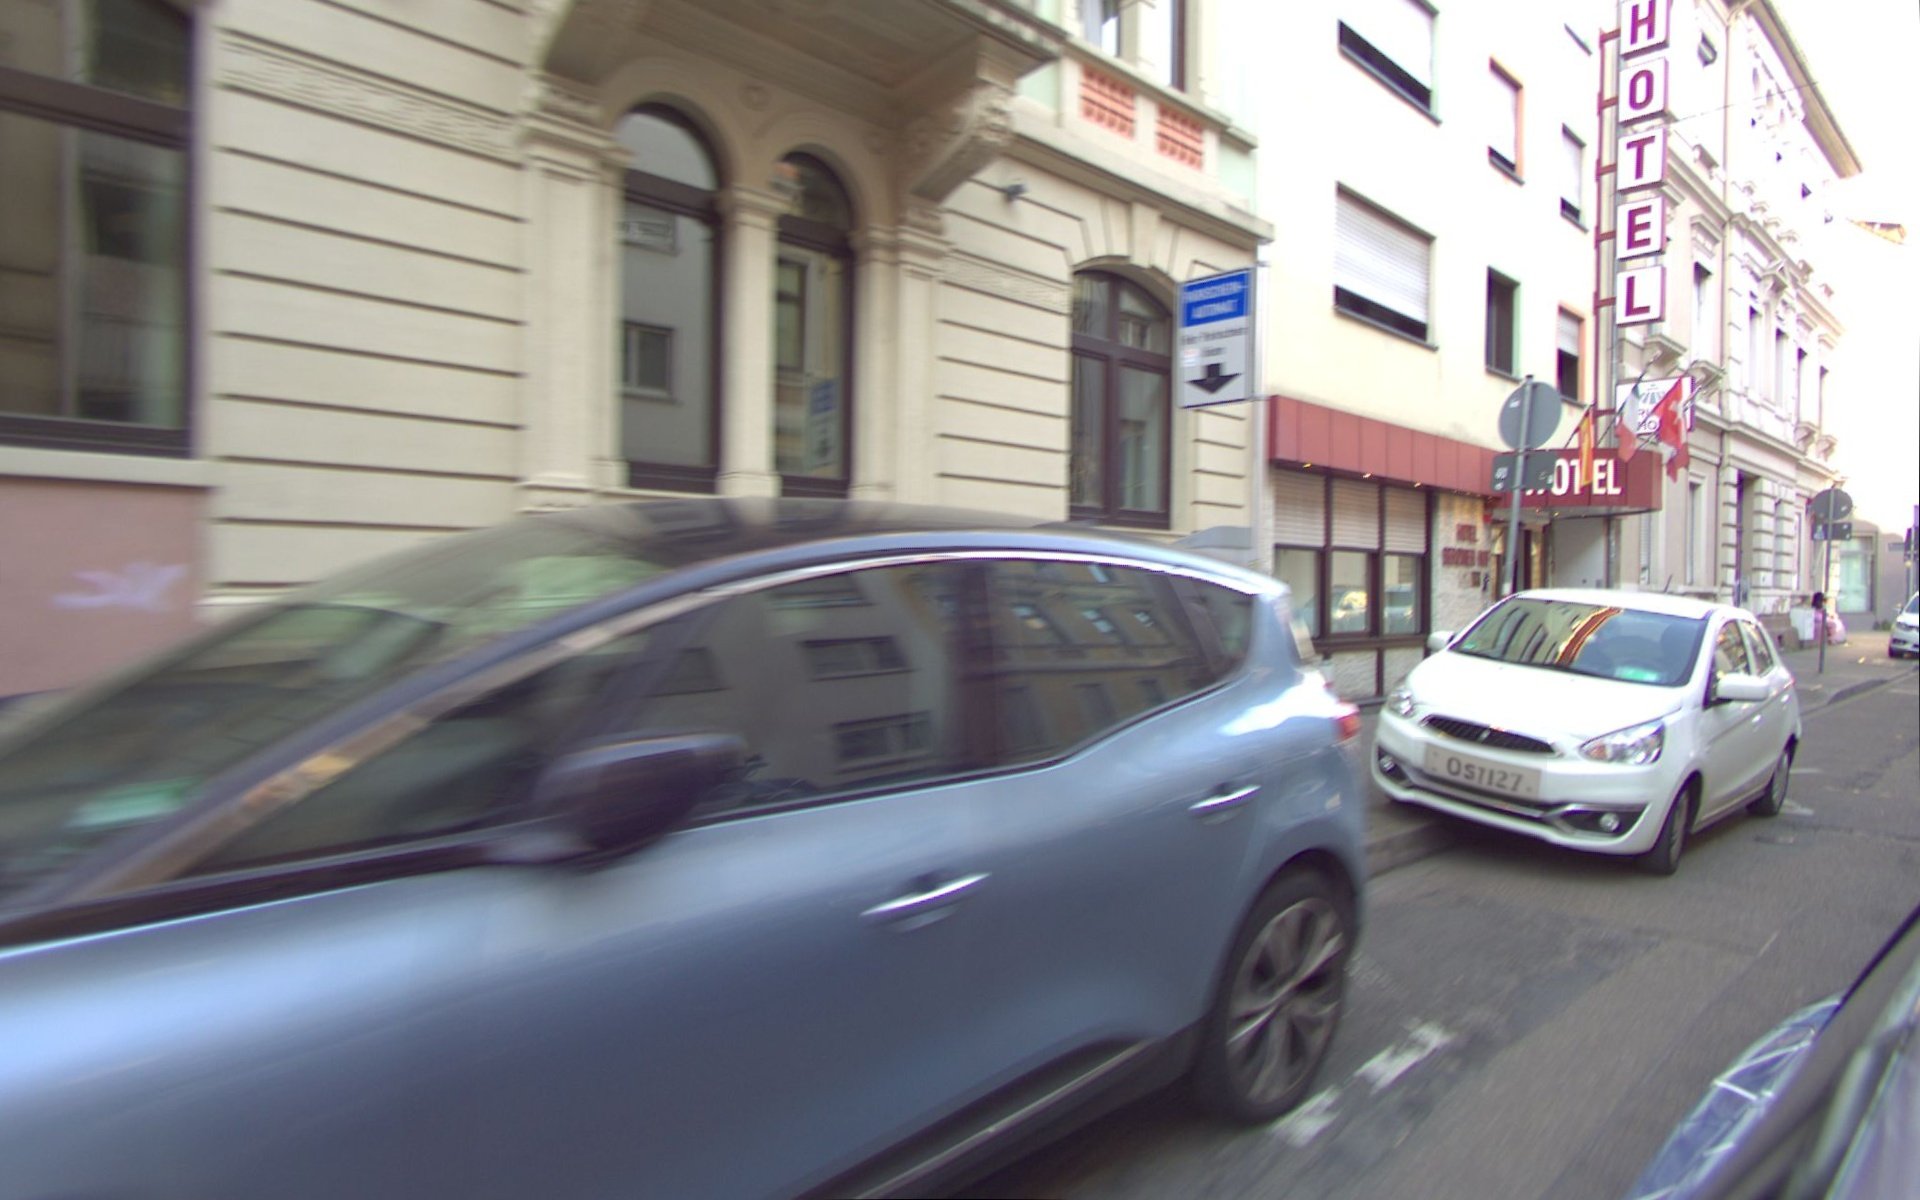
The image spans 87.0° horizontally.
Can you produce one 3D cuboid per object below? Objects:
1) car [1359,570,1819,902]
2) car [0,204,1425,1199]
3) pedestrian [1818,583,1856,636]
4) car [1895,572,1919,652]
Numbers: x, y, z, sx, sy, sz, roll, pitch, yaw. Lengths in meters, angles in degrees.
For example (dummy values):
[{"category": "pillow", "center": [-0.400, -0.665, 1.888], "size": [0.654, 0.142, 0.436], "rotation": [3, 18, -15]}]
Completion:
[{"category": "car", "center": [4.248, 0.633, 6.632], "size": [3.527, 1.598, 1.573], "rotation": [0, 1, -41]}, {"category": "car", "center": [-0.648, 0.457, 2.447], "size": [4.037, 1.763, 1.693], "rotation": [0, 1, -41]}, {"category": "pedestrian", "center": [24.063, 0.248, 27.774], "size": [0.475, 1.441, 0.696], "rotation": [0, 1, -39]}, {"category": "car", "center": [22.968, 0.327, 22.991], "size": [4.280, 1.715, 1.843], "rotation": [0, 6, -39]}]
